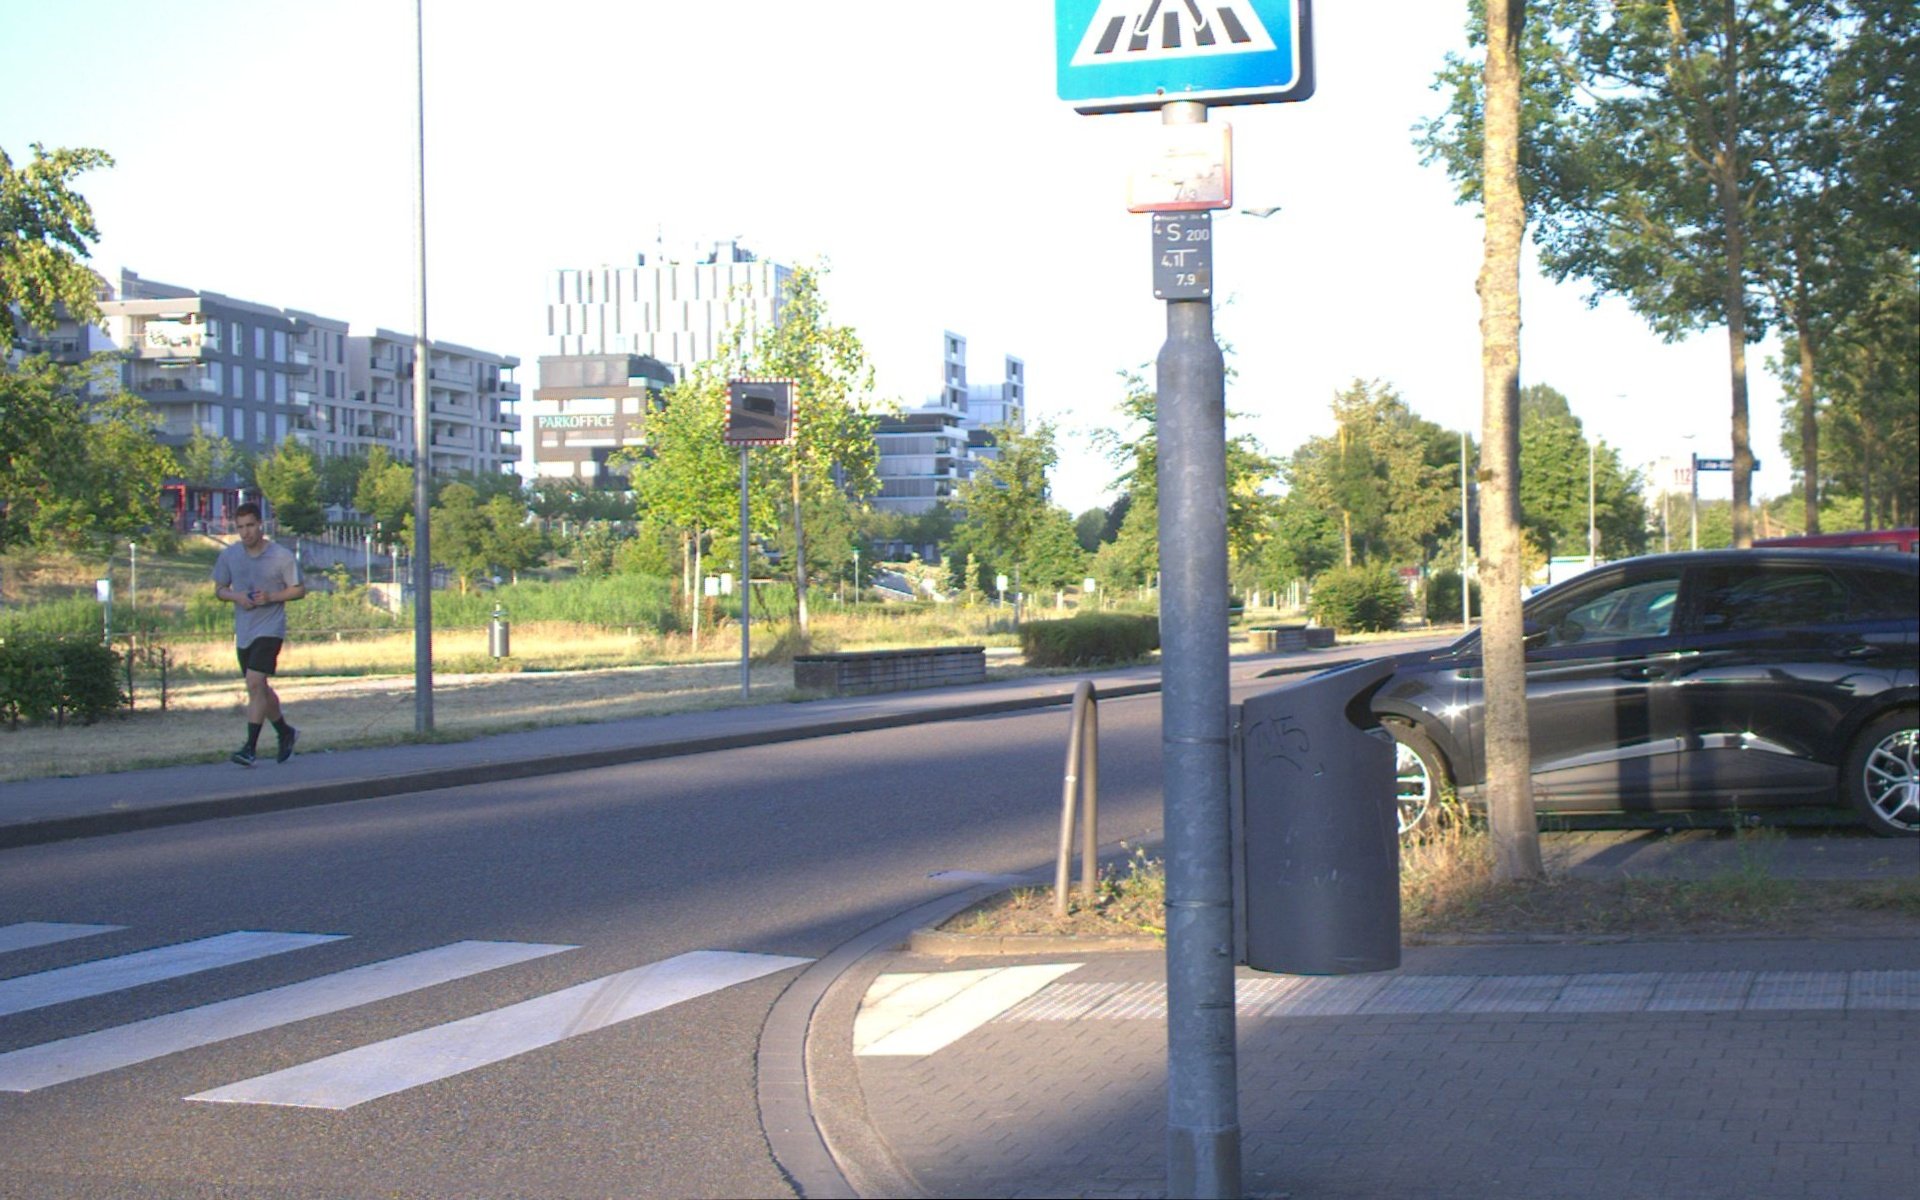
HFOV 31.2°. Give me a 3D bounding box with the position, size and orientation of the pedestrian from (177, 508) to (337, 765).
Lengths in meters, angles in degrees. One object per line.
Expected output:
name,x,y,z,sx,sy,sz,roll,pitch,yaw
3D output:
pedestrian,-4.818,0.245,23.583,0.765,1.724,0.801,0,0,20

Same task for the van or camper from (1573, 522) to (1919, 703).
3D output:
van or camper,9.838,0.133,40.259,5.118,2.053,1.876,0,0,14

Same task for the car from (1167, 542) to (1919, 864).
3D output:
car,3.500,0.523,18.211,4.469,1.482,1.832,-3,-1,15

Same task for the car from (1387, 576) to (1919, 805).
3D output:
car,5.022,0.578,23.289,4.046,1.474,1.700,0,0,15

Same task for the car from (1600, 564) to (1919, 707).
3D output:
car,9.322,0.371,37.609,4.455,1.516,1.700,0,0,15

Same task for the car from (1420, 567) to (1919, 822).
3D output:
car,4.893,0.532,20.679,3.995,1.369,1.558,-3,0,15
